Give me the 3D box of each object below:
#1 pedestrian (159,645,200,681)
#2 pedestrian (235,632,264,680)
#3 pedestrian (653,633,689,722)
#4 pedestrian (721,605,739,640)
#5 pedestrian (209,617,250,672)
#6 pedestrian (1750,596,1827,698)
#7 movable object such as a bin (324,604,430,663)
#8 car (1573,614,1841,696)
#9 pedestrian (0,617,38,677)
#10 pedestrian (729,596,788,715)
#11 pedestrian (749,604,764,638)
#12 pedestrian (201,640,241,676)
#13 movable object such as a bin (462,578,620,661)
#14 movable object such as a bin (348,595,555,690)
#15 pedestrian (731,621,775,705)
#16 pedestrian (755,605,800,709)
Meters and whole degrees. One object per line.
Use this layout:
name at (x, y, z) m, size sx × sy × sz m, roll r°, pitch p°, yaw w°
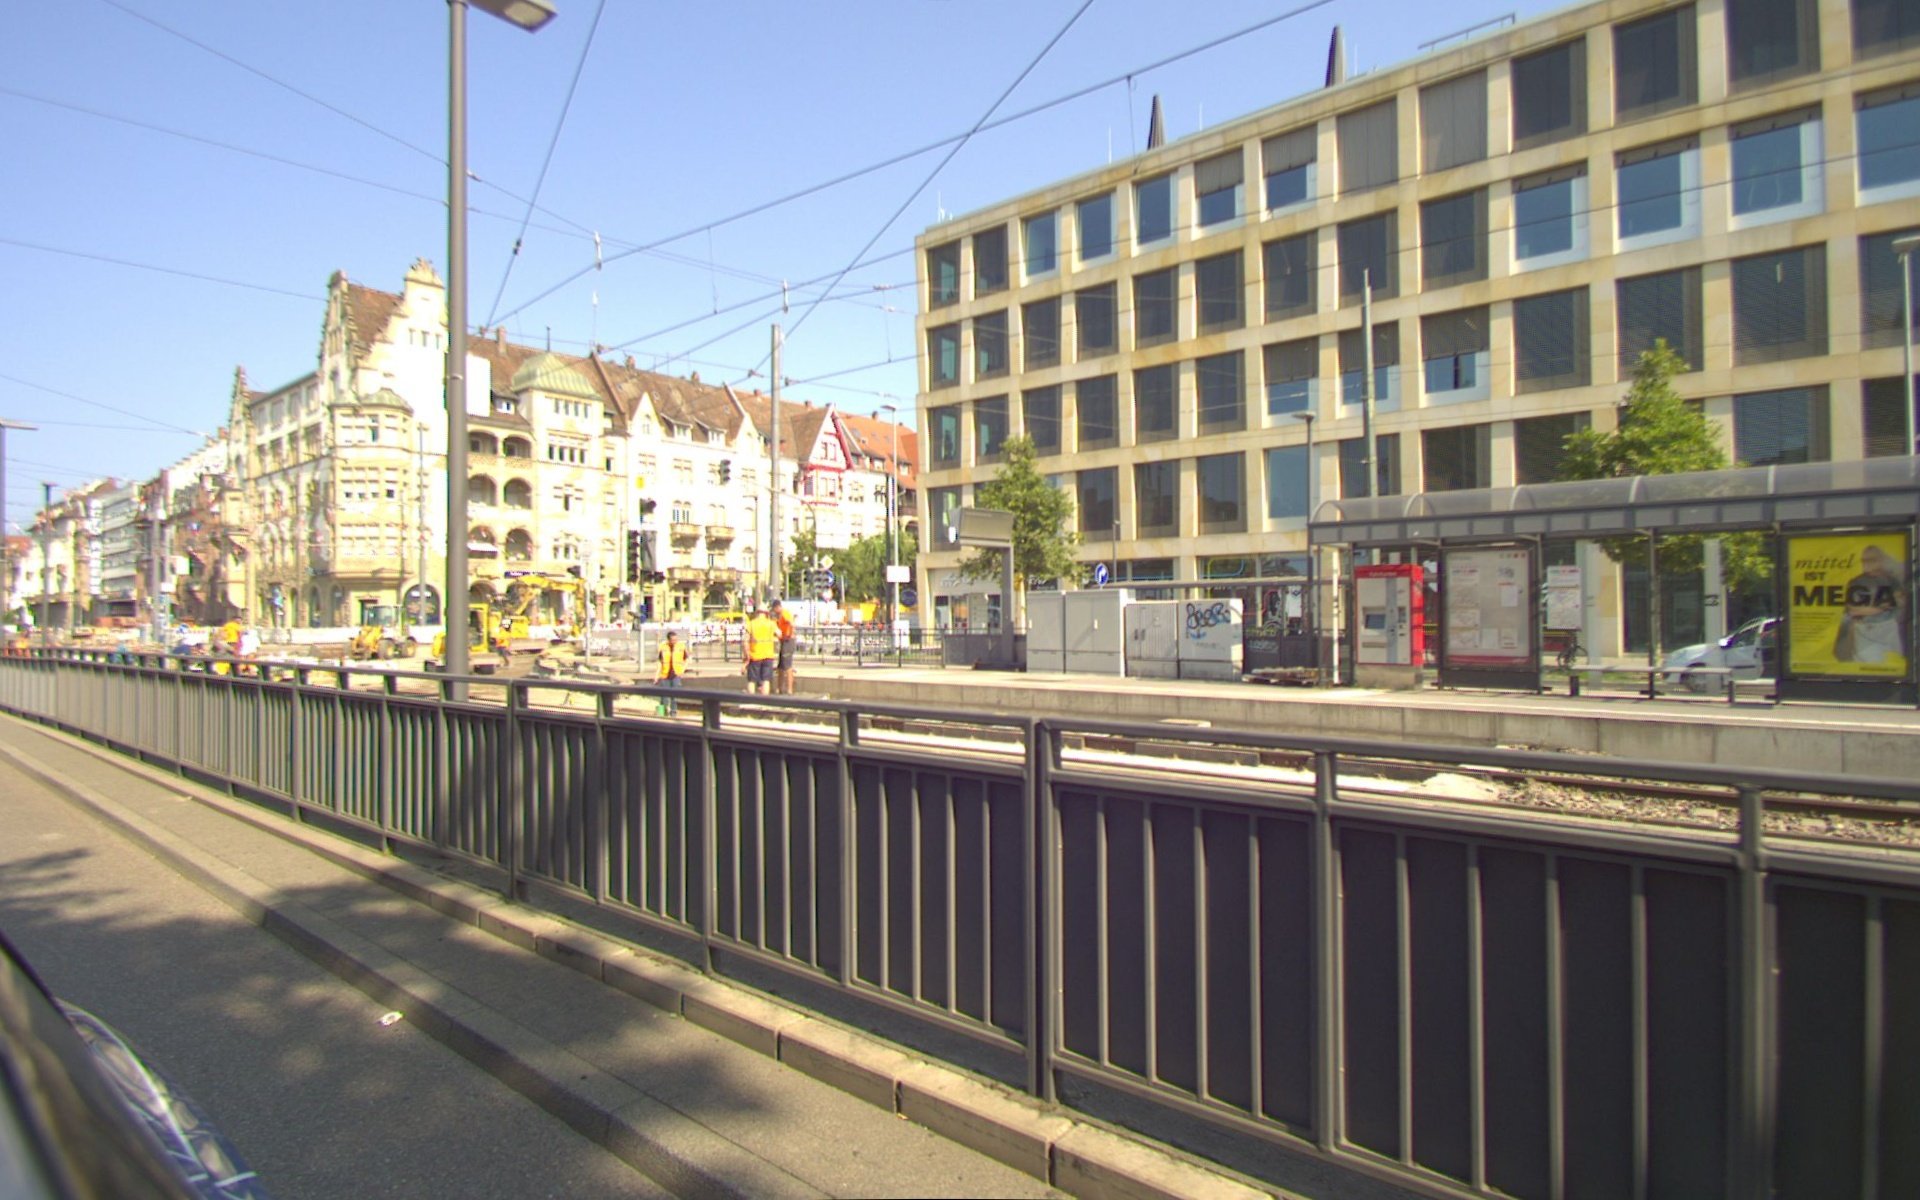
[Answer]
pedestrian at (-20.976, 1.679, 27.201) m, size 0.808 × 0.933 × 0.514 m, roll 1°, pitch -2°, yaw -32°
pedestrian at (-23.561, 1.851, 33.572) m, size 0.692 × 1.578 × 0.557 m, roll 1°, pitch -3°, yaw -44°
pedestrian at (-5.589, 1.482, 19.566) m, size 0.657 × 1.676 × 0.774 m, roll 0°, pitch -2°, yaw -16°
pedestrian at (-13.790, 1.347, 60.729) m, size 0.663 × 2.080 × 0.894 m, roll -1°, pitch -1°, yaw 16°
pedestrian at (-21.497, 1.300, 29.795) m, size 0.554 × 1.578 × 0.810 m, roll -2°, pitch -2°, yaw 29°
pedestrian at (14.186, 0.787, 17.333) m, size 0.827 × 1.689 × 0.881 m, roll 1°, pitch -2°, yaw -43°
movable object such as a bin at (-29.329, 1.666, 51.154) m, size 2.417 × 2.856 × 4.812 m, roll 0°, pitch -1°, yaw 3°
car at (14.393, 1.023, 19.665) m, size 3.996 × 1.414 × 1.882 m, roll -2°, pitch -2°, yaw 40°
pedestrian at (-25.517, 1.270, 27.382) m, size 0.690 × 1.578 × 0.752 m, roll -2°, pitch -3°, yaw 40°
pedestrian at (-3.442, 0.940, 17.267) m, size 0.713 × 1.966 × 0.790 m, roll 1°, pitch -2°, yaw -35°
pedestrian at (-12.167, 1.242, 60.478) m, size 0.658 × 2.029 × 0.831 m, roll 0°, pitch -1°, yaw -26°
pedestrian at (-20.727, 1.629, 28.396) m, size 0.929 × 0.996 × 0.508 m, roll -1°, pitch -2°, yaw 24°
movable object such as a bin at (-23.687, 1.064, 57.276) m, size 7.261 × 4.380 × 4.981 m, roll 1°, pitch -1°, yaw -37°
movable object such as a bin at (-18.234, 1.344, 36.008) m, size 8.471 × 2.980 × 3.577 m, roll 0°, pitch 0°, yaw 41°
pedestrian at (-3.945, 1.193, 19.285) m, size 0.620 × 1.566 × 0.638 m, roll -1°, pitch -2°, yaw 14°
pedestrian at (-3.259, 1.012, 18.123) m, size 0.633 × 1.830 × 0.625 m, roll -1°, pitch -2°, yaw 8°
